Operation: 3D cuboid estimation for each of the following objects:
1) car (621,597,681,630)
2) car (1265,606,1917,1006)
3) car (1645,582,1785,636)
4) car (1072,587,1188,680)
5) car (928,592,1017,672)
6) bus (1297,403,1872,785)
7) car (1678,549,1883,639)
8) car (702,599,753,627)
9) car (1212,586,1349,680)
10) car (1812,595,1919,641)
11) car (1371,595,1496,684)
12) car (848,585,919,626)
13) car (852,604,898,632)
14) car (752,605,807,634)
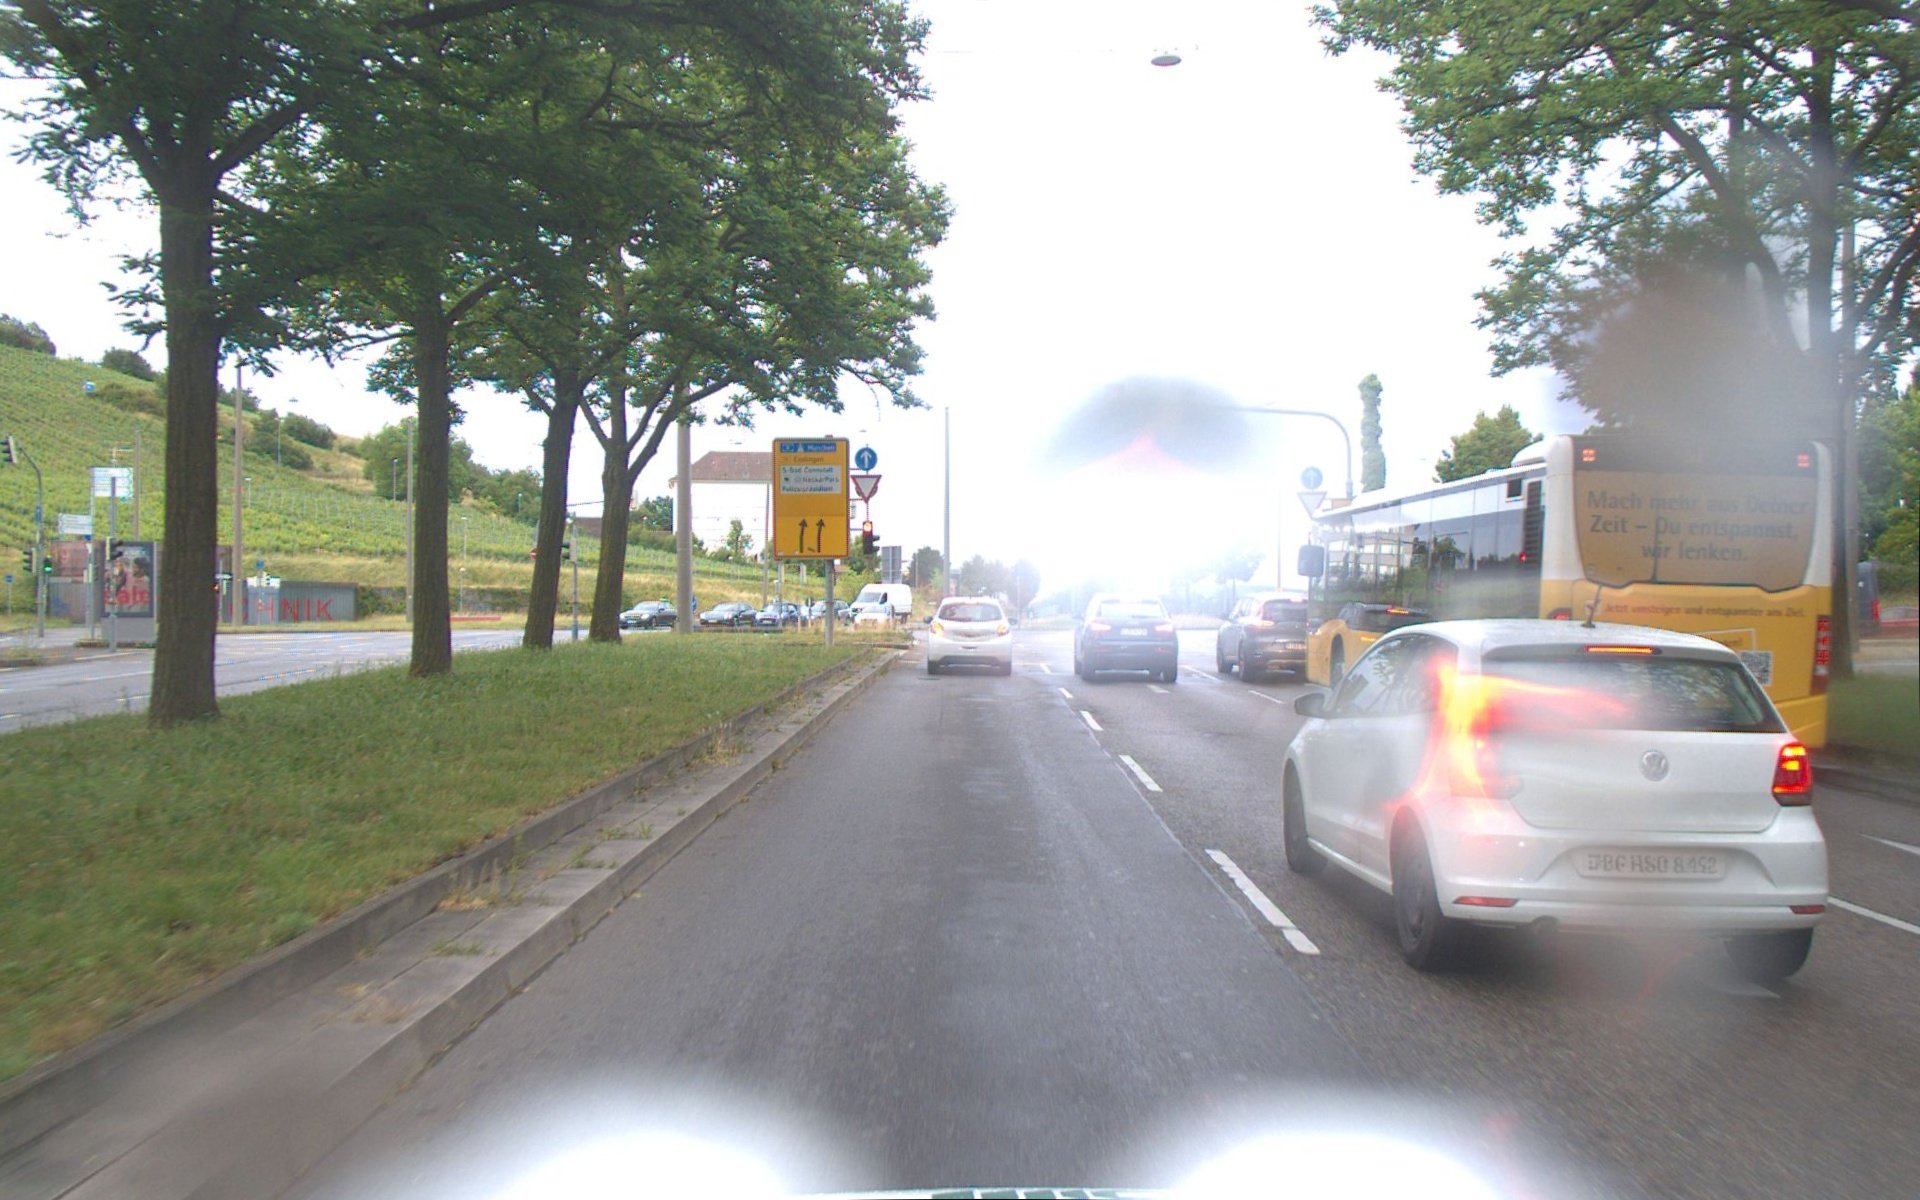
[{"bbox_3d":[-16.481,0.710,88.322,1.790,1.652,4.569,2,0,7],"label":"car"},{"bbox_3d":[2.731,0.787,8.135,1.705,1.457,3.811,2,0,0],"label":"car"},{"bbox_3d":[23.888,0.279,52.396,3.968,1.596,1.869,0,-2,25],"label":"car"},{"bbox_3d":[3.202,0.623,31.918,1.845,1.623,4.114,2,0,1],"label":"car"},{"bbox_3d":[0.275,0.622,33.508,1.682,1.515,4.000,1,0,1],"label":"car"},{"bbox_3d":[6.592,-0.119,20.273,2.670,3.207,12.148,2,1,1],"label":"bus"},{"bbox_3d":[26.724,-0.191,54.000,5.895,2.789,2.078,0,-2,28],"label":"car"},{"bbox_3d":[-12.606,0.719,89.800,1.748,1.420,3.884,1,-1,7],"label":"car"},{"bbox_3d":[6.281,0.585,32.874,1.827,1.703,4.565,1,1,0],"label":"car"},{"bbox_3d":[32.734,0.656,58.589,4.434,1.495,2.160,2,-1,27],"label":"car"},{"bbox_3d":[9.049,0.727,31.399,1.827,1.524,4.150,1,0,22],"label":"car"},{"bbox_3d":[-5.103,0.383,111.420,1.955,2.604,6.163,1,-1,26],"label":"car"},{"bbox_3d":[-4.532,0.959,88.478,1.738,1.450,4.377,-1,-1,6],"label":"car"},{"bbox_3d":[-9.553,1.046,87.758,1.748,1.420,3.885,1,-1,11],"label":"car"}]
